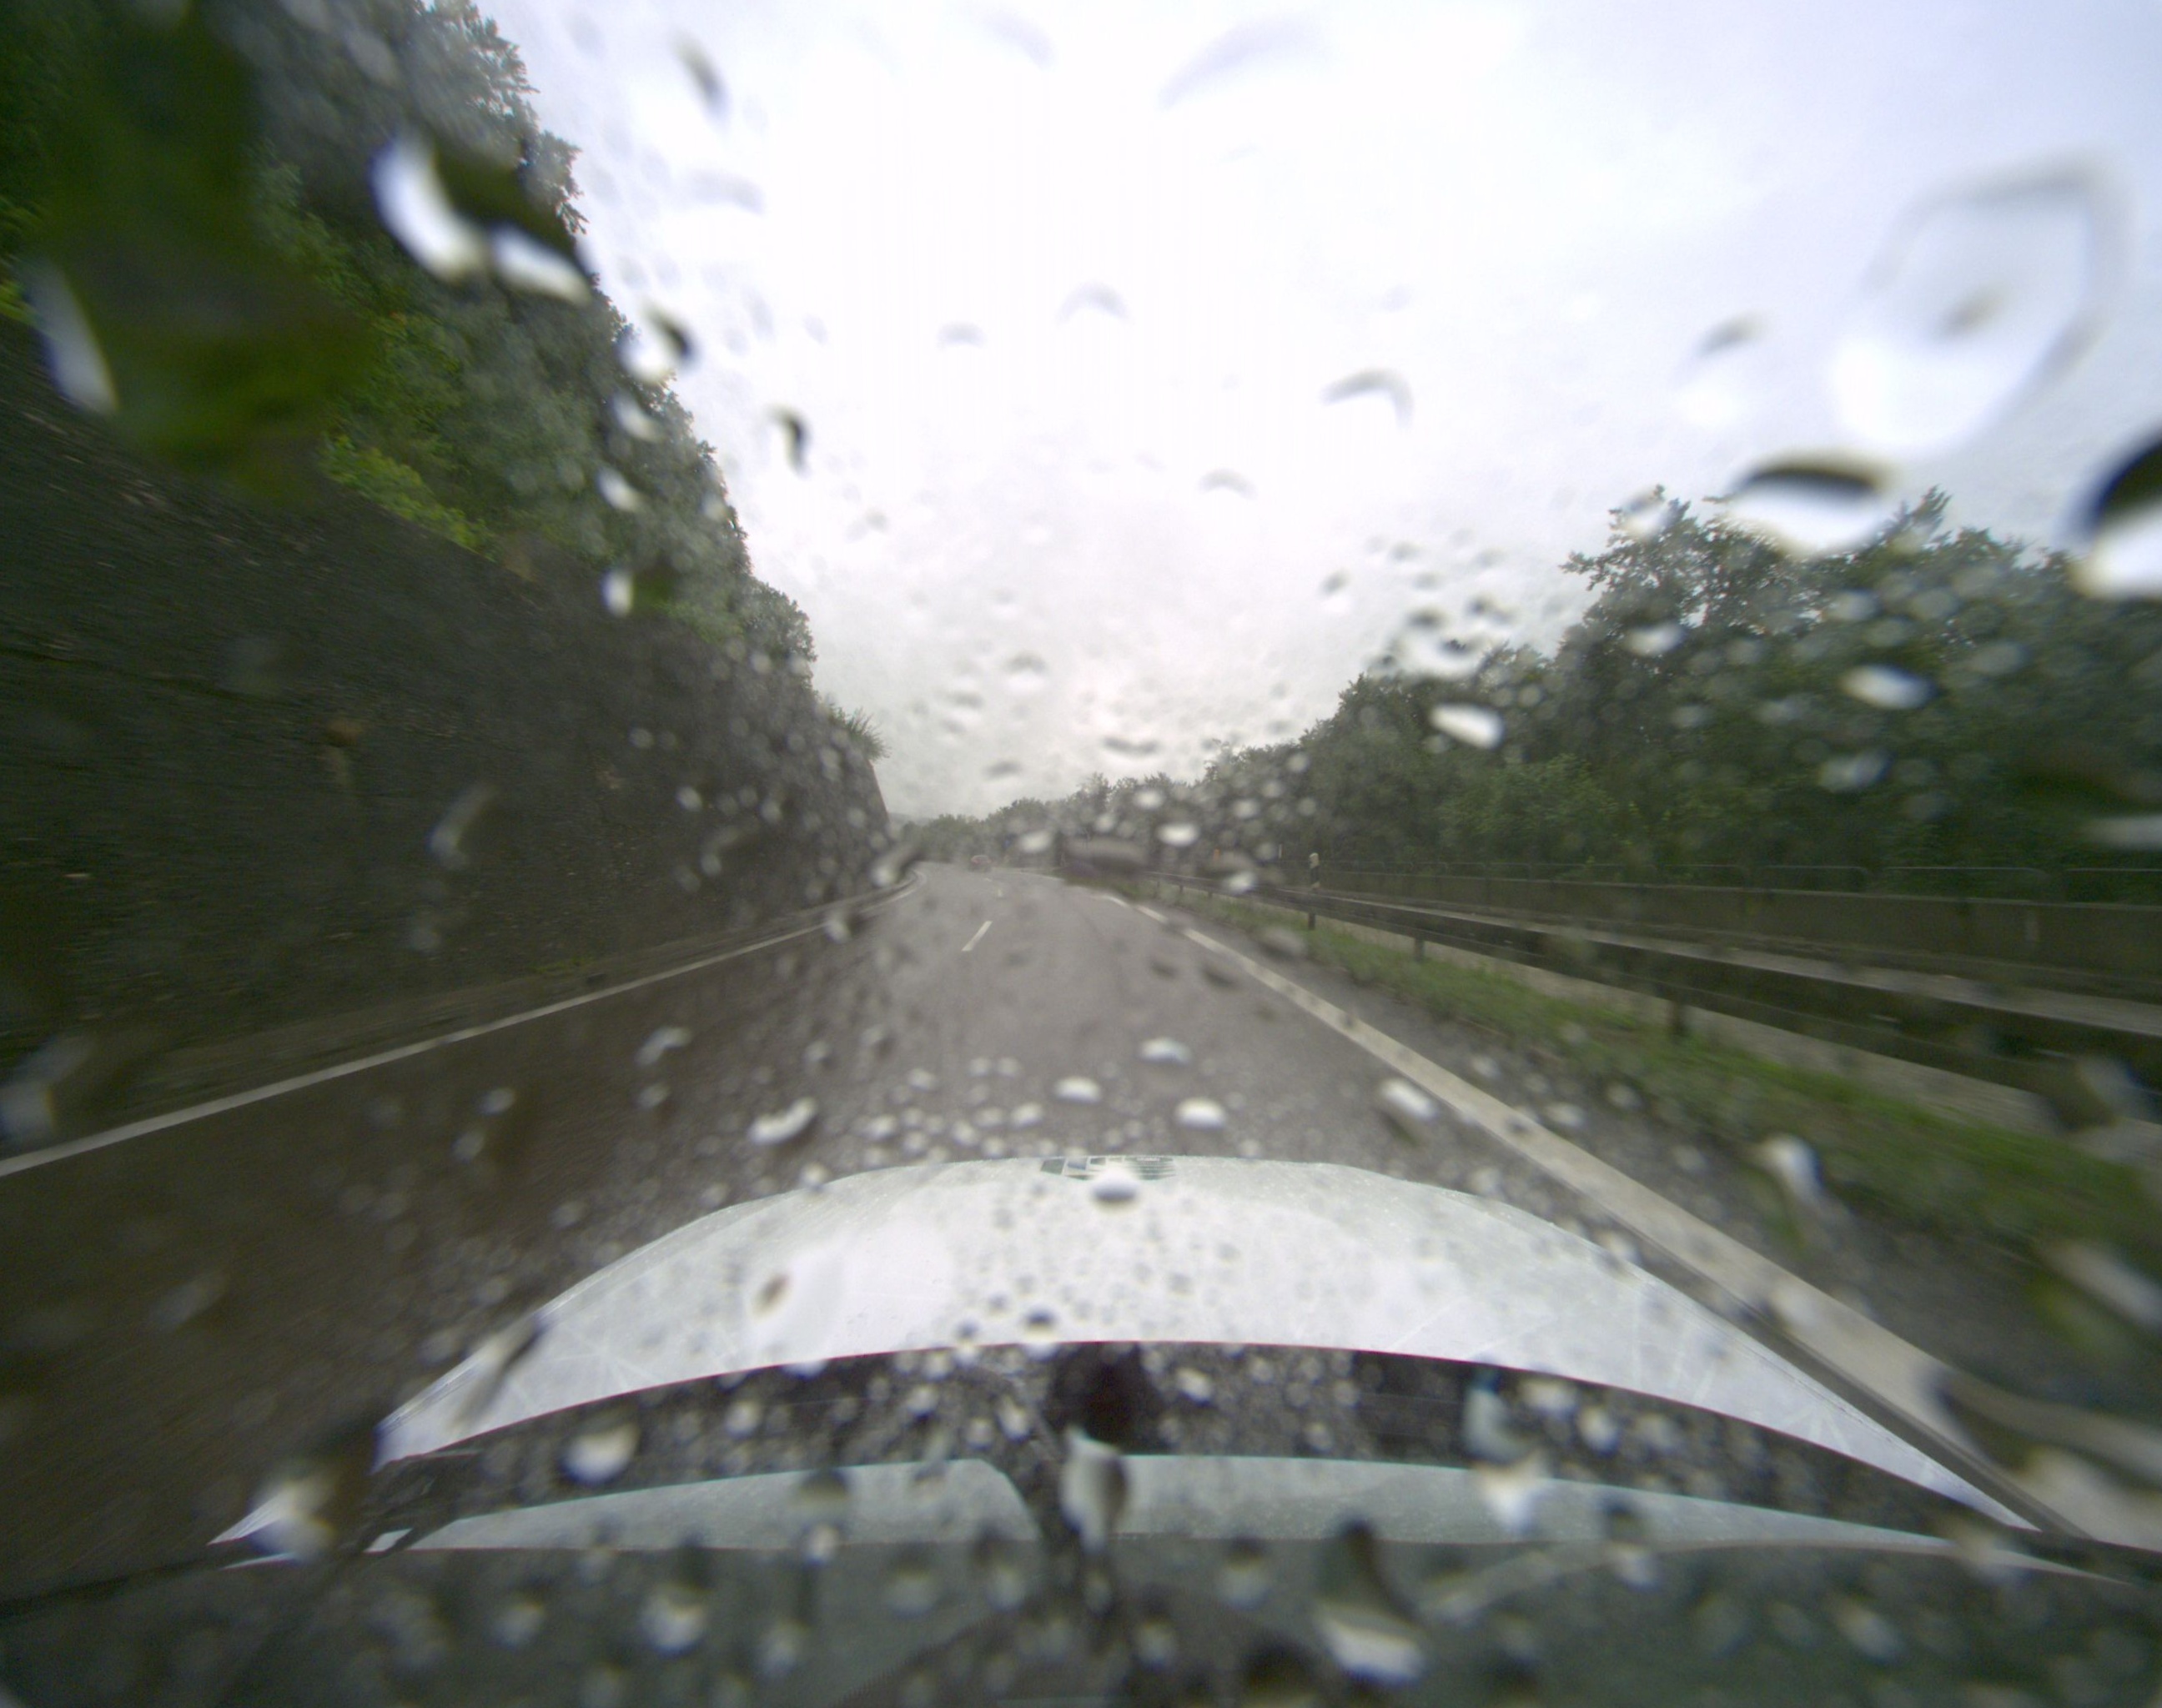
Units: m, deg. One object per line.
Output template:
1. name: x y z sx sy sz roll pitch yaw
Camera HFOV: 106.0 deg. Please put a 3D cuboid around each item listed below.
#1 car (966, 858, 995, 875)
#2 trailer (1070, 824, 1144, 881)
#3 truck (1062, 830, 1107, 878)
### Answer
1. car: -9.323 1.116 75.431 1.909 1.499 3.975 1 0 -19
2. trailer: 1.833 -0.073 67.592 2.894 4.245 14.639 0 0 -11
3. truck: 0.248 -0.023 75.546 2.898 4.245 6.854 0 0 -11
